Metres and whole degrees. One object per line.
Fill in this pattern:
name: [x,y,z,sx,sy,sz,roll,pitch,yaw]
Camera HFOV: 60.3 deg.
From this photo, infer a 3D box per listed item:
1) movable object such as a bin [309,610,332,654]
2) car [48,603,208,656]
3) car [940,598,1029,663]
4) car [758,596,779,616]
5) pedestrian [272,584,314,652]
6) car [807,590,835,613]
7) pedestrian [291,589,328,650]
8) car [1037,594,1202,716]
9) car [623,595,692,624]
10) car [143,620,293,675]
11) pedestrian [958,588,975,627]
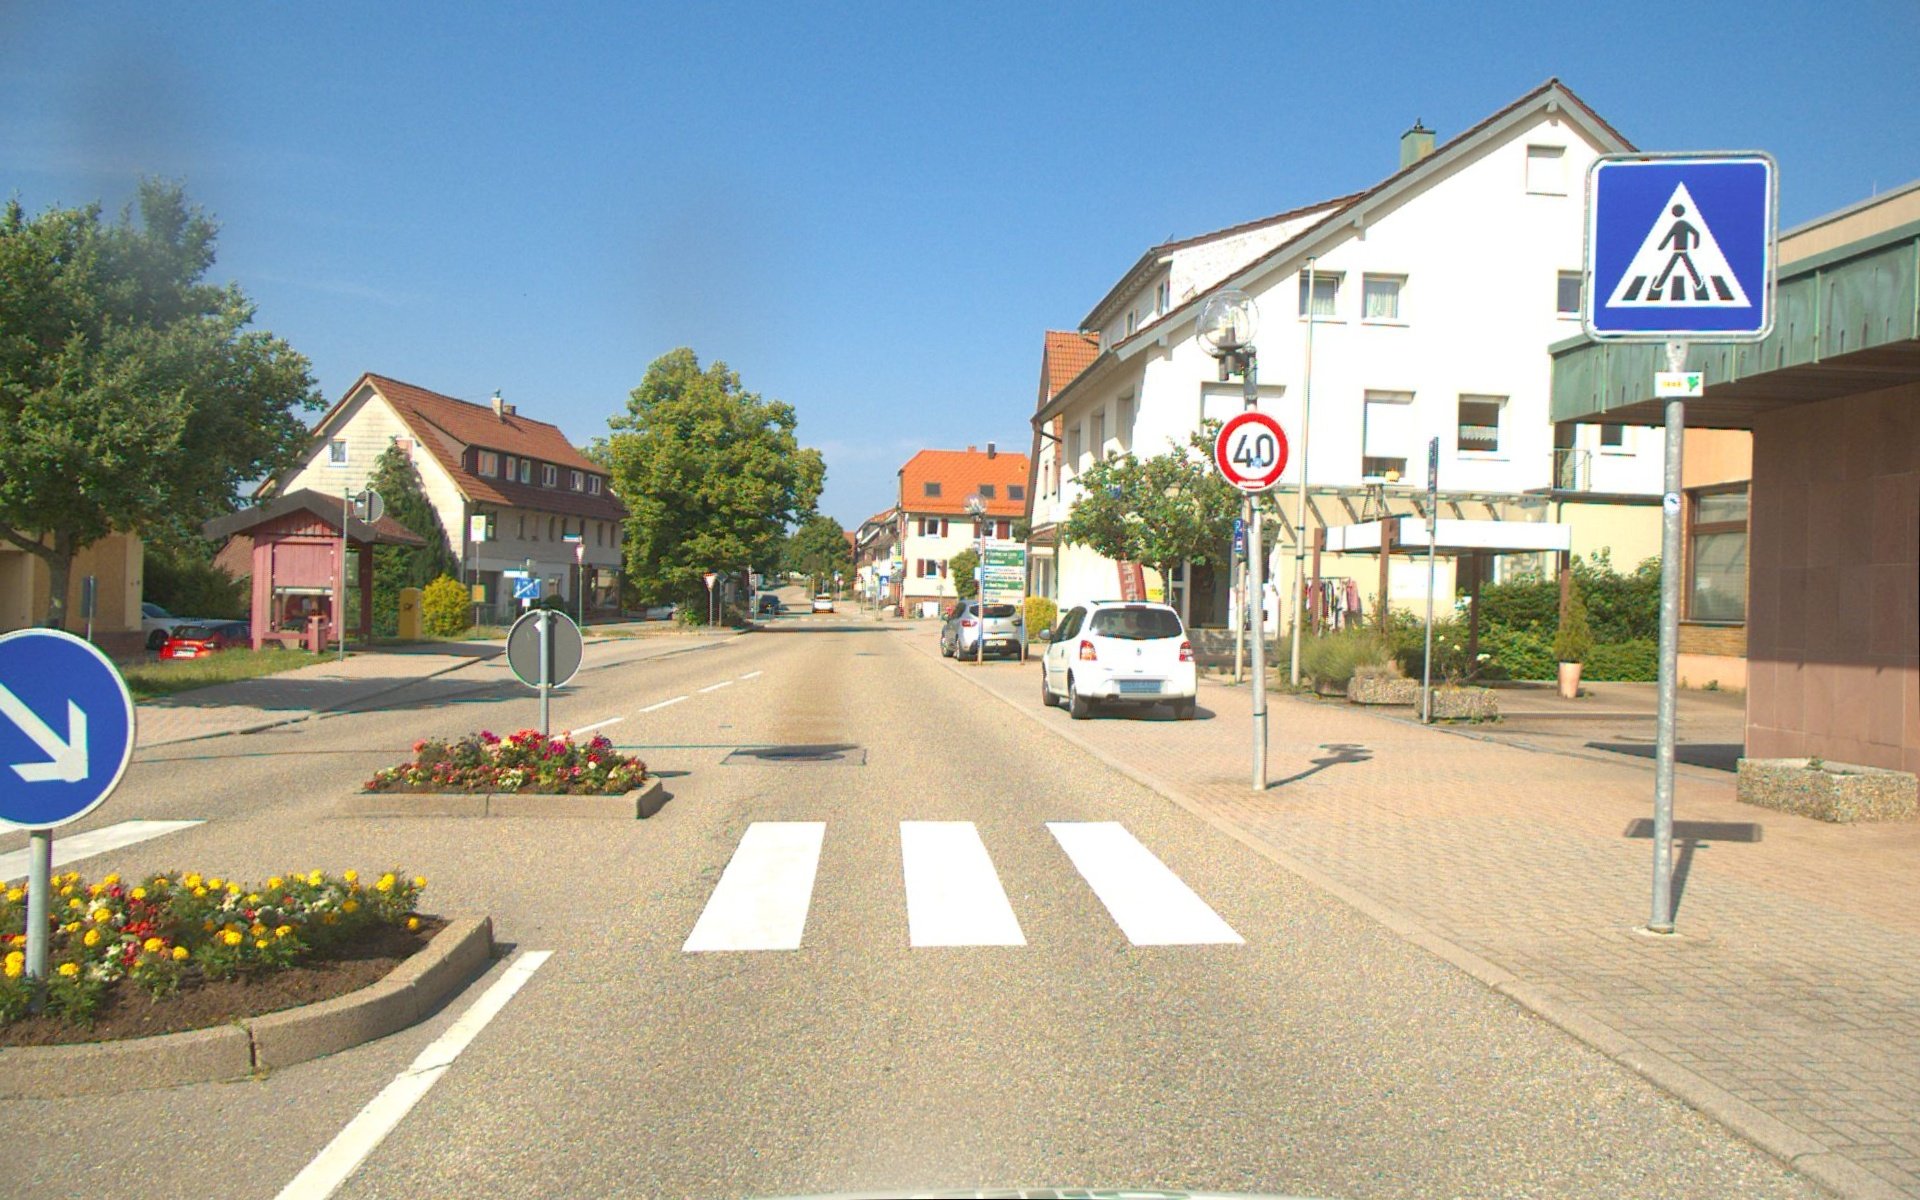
movable object such as a bin: [-12.496,0.622,32.303,0.299,0.851,0.484,-1,0,-7]
car: [-26.668,0.941,53.090,4.211,1.538,1.801,2,-2,5]
car: [0.547,0.704,40.434,1.604,1.444,3.928,-1,0,-8]
car: [-16.839,0.526,145.470,1.640,1.559,3.532,5,0,-5]
pedestrian: [-13.934,0.365,34.575,0.605,1.388,0.673,-2,1,-6]
car: [-13.406,0.158,159.149,2.449,2.049,4.296,-2,0,-8]
pedestrian: [-13.833,0.404,35.173,0.617,1.275,0.423,-2,0,-7]
car: [2.054,0.671,22.176,1.725,1.448,3.632,-1,0,-2]
car: [-18.188,0.590,99.489,3.679,1.480,1.818,-2,-5,7]
car: [-19.734,1.241,44.173,1.684,1.320,4.004,-1,0,10]
pedestrian: [0.328,0.367,77.713,0.783,1.815,0.979,0,0,0]
